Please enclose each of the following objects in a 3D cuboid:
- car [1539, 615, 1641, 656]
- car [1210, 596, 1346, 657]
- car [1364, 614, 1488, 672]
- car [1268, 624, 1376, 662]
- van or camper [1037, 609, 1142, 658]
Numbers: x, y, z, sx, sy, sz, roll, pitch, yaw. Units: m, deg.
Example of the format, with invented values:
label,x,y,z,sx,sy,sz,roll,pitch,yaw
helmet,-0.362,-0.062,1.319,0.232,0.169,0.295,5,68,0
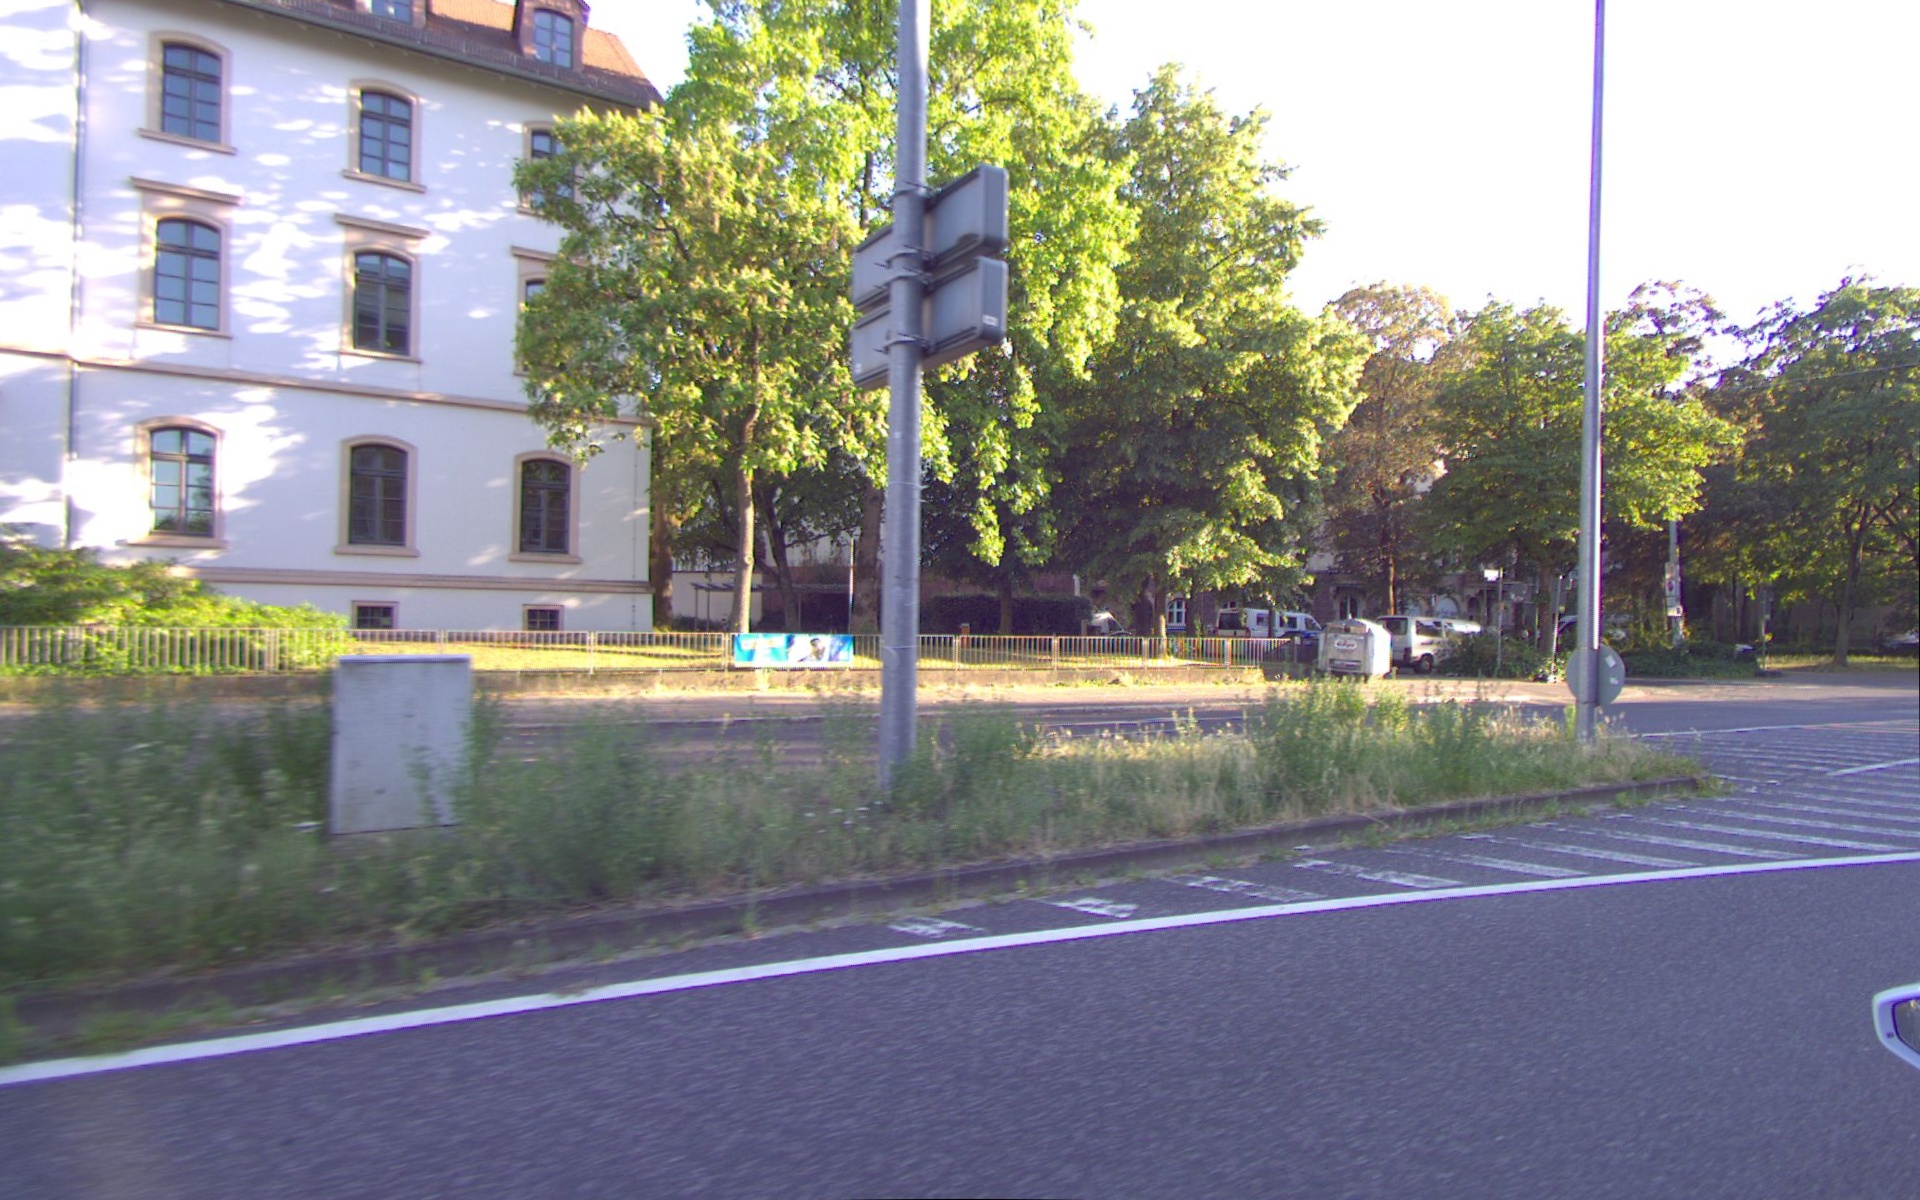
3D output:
label,x,y,z,sx,sy,sz,roll,pitch,yaw
car,40.882,2.261,65.264,5.128,2.518,2.275,1,-1,8
car,12.833,1.072,40.541,5.026,2.319,2.210,2,0,-24
car,15.589,1.415,33.571,3.953,1.819,1.810,2,0,-30
car,13.742,1.624,38.083,3.953,1.350,1.724,2,0,-30
van or camper,6.990,1.807,53.914,5.359,2.504,2.058,2,0,-28
